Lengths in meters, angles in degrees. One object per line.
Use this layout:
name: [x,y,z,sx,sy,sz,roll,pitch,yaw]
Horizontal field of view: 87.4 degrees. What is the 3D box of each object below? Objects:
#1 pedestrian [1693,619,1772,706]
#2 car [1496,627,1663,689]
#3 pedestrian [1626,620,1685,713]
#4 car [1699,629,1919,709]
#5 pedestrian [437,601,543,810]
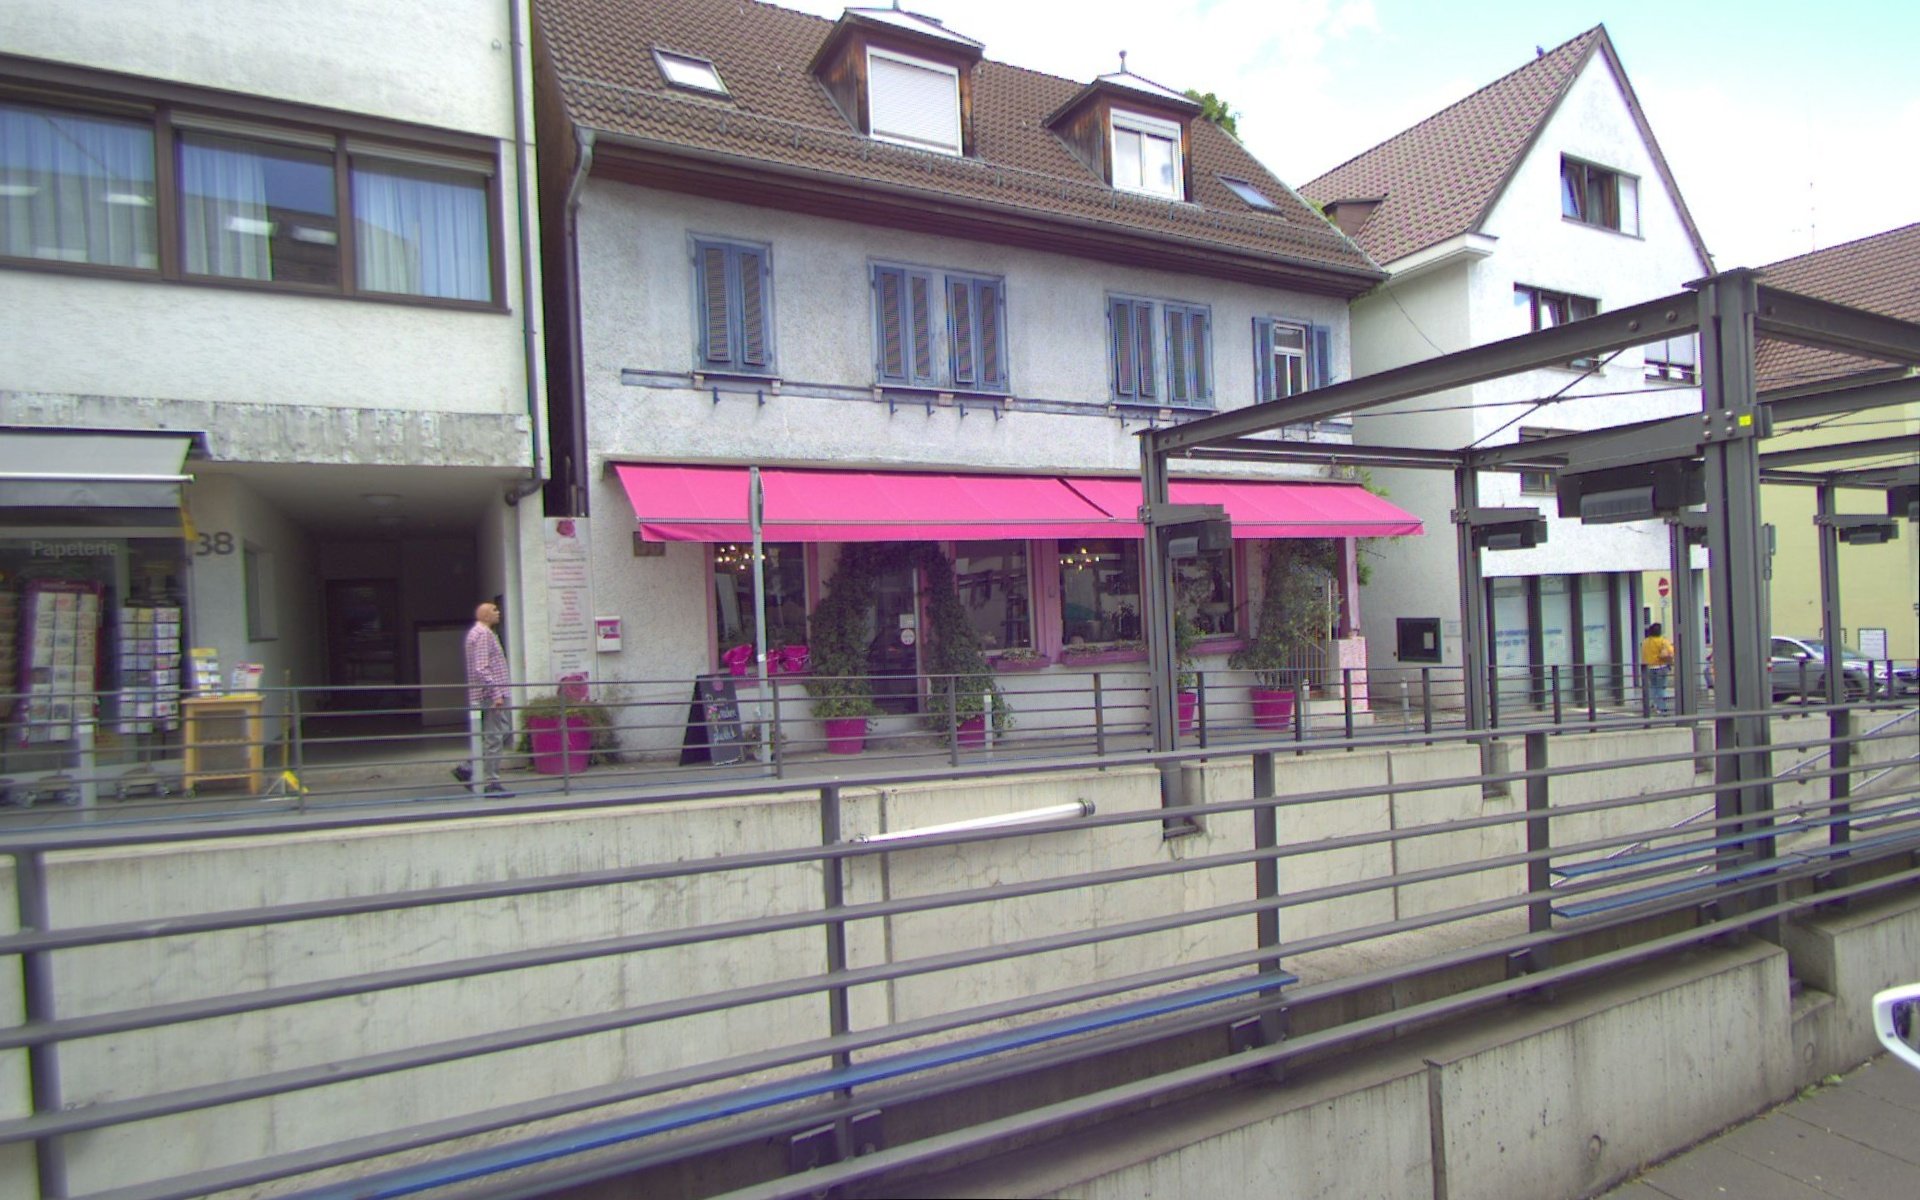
pedestrian: [16.548,1.325,21.530,0.971,1.811,0.917,0,-2,-14]
car: [20.667,1.966,33.720,1.973,1.829,4.328,-2,-3,-25]
pedestrian: [13.602,1.287,19.642,0.827,1.761,0.633,1,-3,-33]
car: [20.616,1.654,24.295,1.934,1.642,4.351,4,-3,-7]
pedestrian: [-4.211,0.904,8.981,0.814,1.763,0.691,1,-2,-28]
